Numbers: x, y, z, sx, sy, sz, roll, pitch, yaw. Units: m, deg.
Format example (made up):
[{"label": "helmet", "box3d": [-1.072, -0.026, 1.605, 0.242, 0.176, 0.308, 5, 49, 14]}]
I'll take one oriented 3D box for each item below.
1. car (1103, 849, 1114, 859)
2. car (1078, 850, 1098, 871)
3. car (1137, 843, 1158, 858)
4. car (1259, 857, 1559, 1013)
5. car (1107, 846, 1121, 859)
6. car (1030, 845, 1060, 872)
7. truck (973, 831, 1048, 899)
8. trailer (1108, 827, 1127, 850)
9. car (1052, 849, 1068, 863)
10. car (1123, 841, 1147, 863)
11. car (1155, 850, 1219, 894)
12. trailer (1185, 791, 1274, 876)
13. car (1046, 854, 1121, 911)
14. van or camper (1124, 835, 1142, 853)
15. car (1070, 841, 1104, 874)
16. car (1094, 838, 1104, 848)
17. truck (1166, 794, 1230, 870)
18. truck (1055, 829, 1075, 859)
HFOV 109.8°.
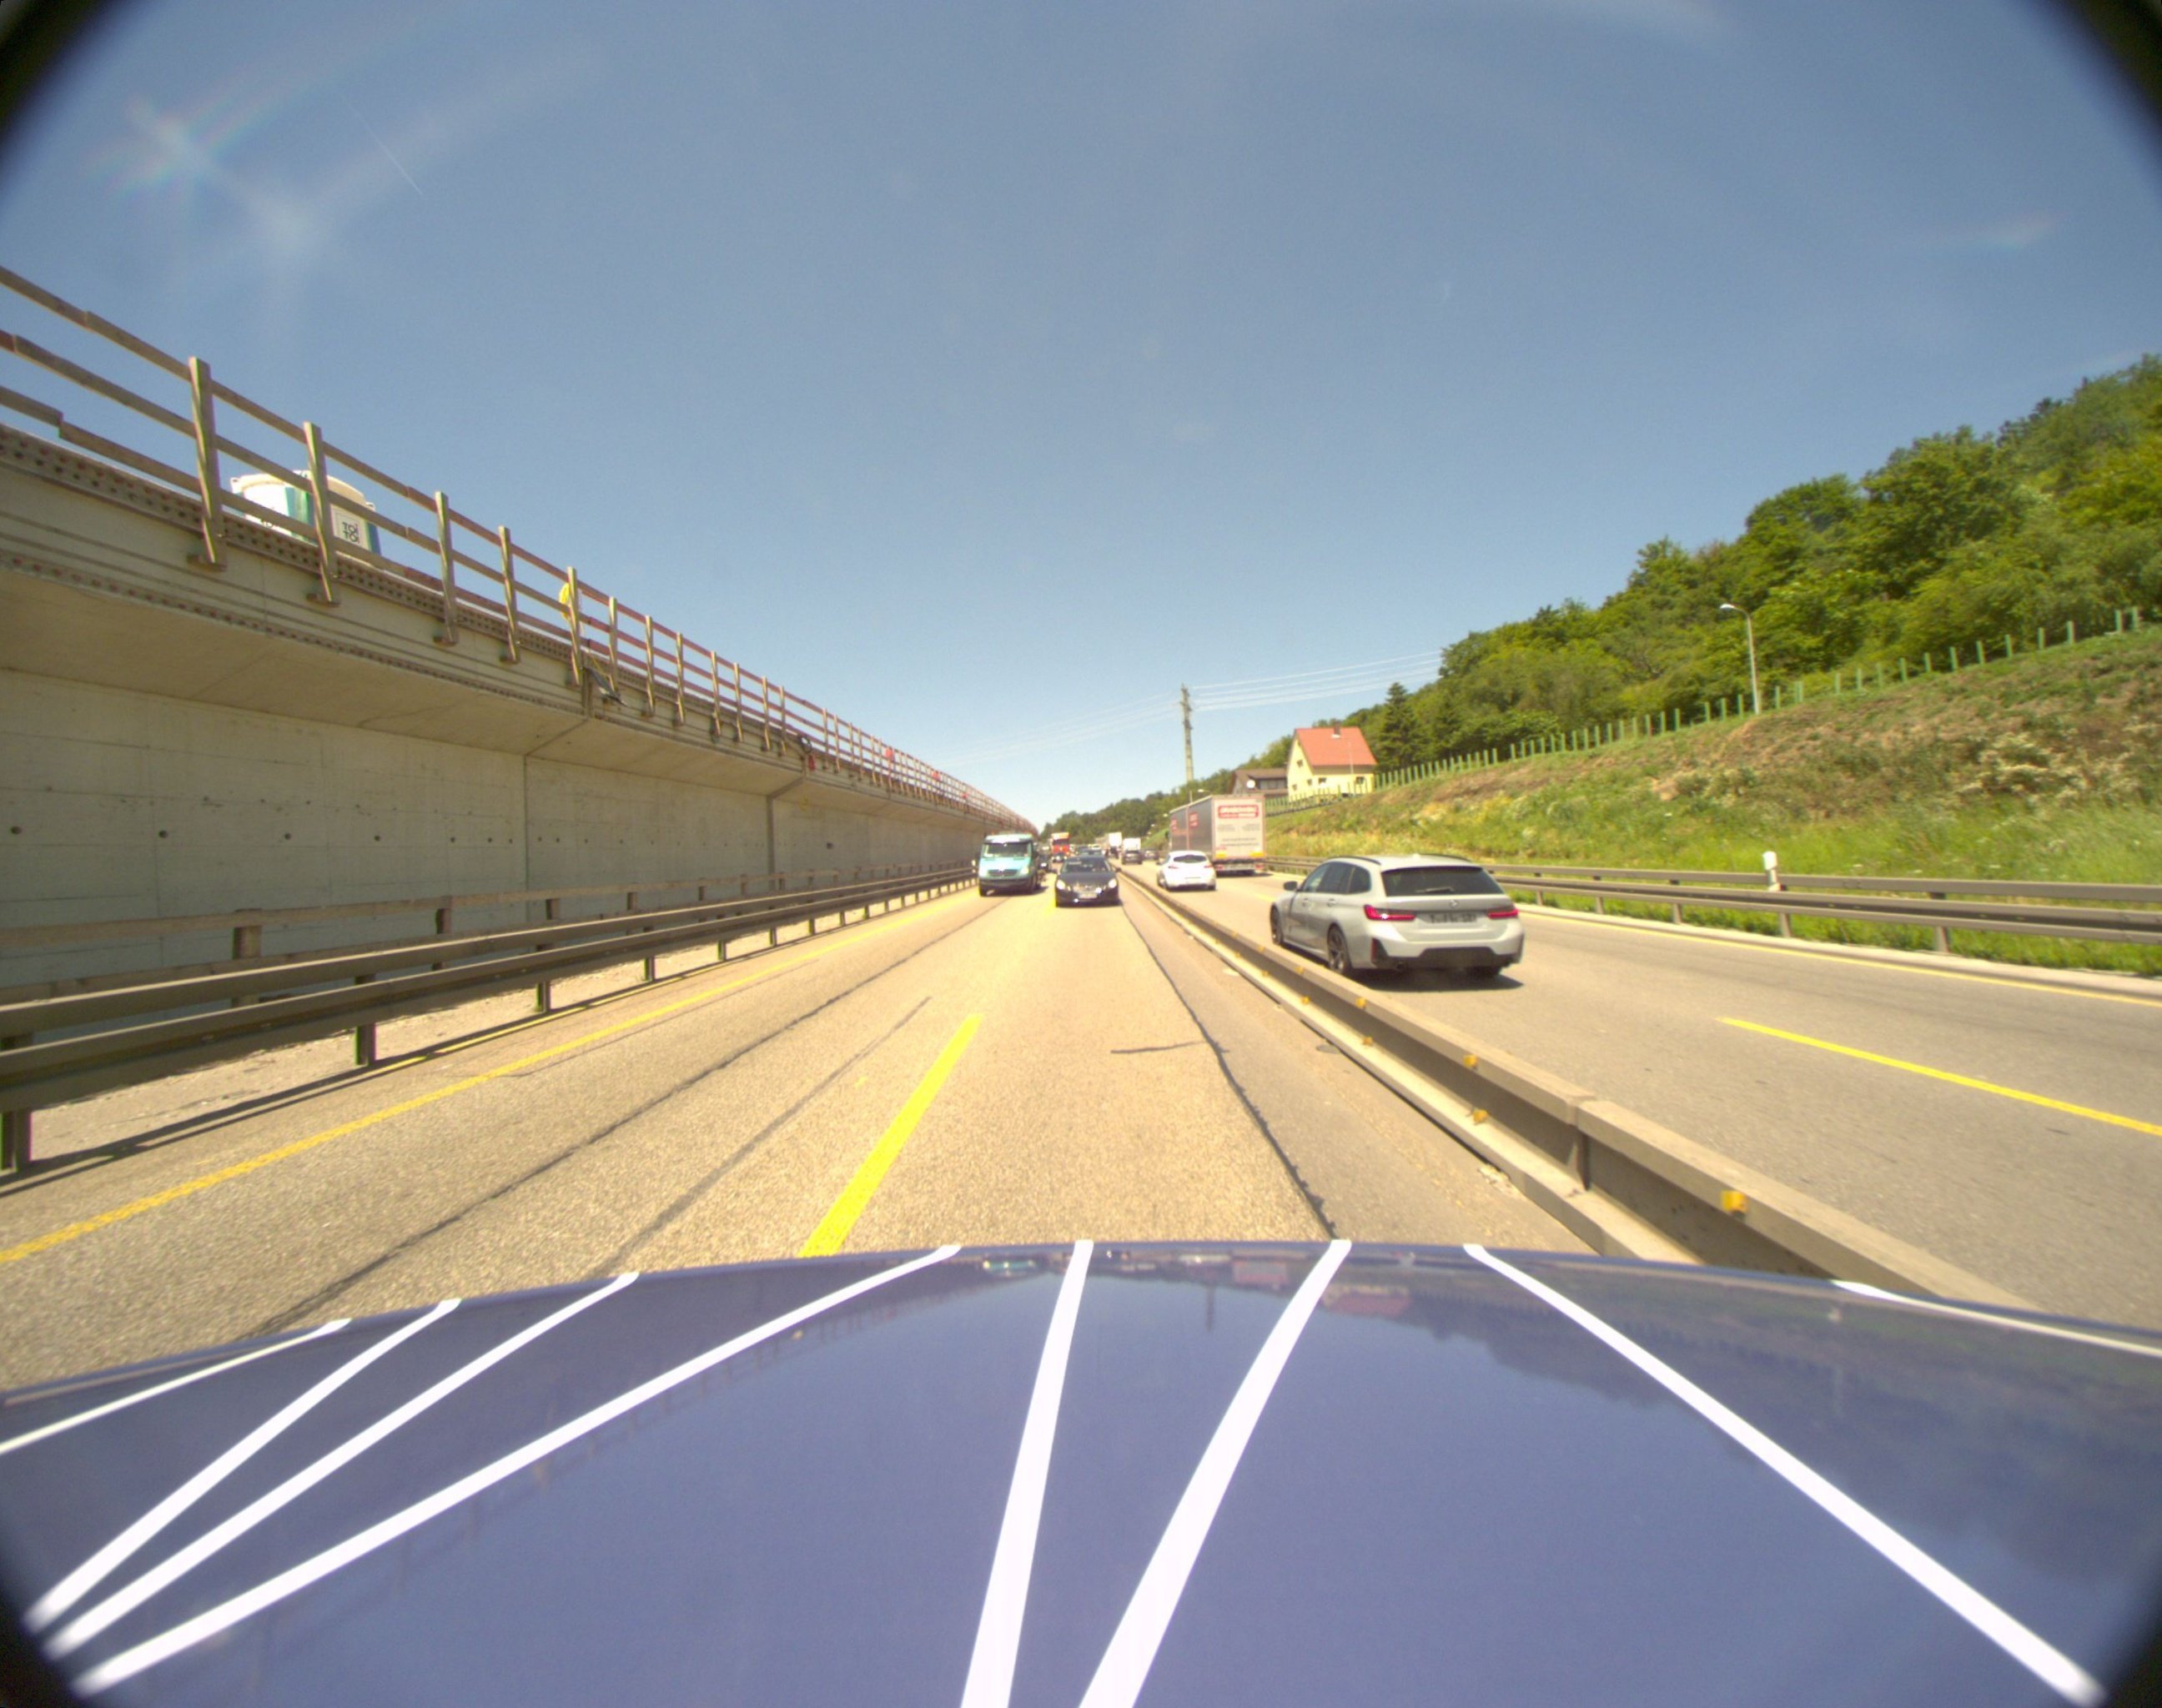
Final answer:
[{"label": "car", "box3d": [4.415, 0.008, 123.349, 1.671, 1.442, 3.905, -2, 1, 1]}, {"label": "car", "box3d": [0.799, 0.689, 84.227, 1.998, 2.003, 3.998, -4, 2, 0]}, {"label": "car", "box3d": [7.548, -0.439, 86.320, 1.998, 1.499, 5.299, -2, 1, 1]}, {"label": "car", "box3d": [3.725, 0.795, 9.683, 1.834, 1.425, 4.629, -1, 0, 0]}, {"label": "car", "box3d": [4.482, -0.256, 103.697, 1.875, 1.674, 4.000, -1, 1, 1]}, {"label": "car", "box3d": [-2.563, 0.276, 54.540, 1.885, 1.805, 4.249, -2, 1, 0]}, {"label": "truck", "box3d": [-2.672, 0.313, 30.903, 2.139, 2.344, 7.432, -2, 1, 1]}, {"label": "trailer", "box3d": [7.461, -3.216, 157.887, 3.111, 4.416, 14.625, -2, 1, 0]}, {"label": "car", "box3d": [-2.574, 0.228, 94.400, 1.883, 1.532, 4.280, -2, 1, 0]}, {"label": "car", "box3d": [5.001, -0.195, 70.980, 1.854, 1.879, 4.501, -2, 0, 1]}, {"label": "car", "box3d": [3.895, 0.615, 28.435, 1.807, 1.455, 4.000, -2, 0, 0]}, {"label": "trailer", "box3d": [7.737, -1.045, 40.841, 2.936, 3.966, 8.705, -2, 1, 0]}, {"label": "car", "box3d": [0.113, 0.785, 23.058, 1.998, 1.441, 4.601, -2, 1, 1]}, {"label": "van or camper", "box3d": [7.983, -1.560, 116.901, 2.356, 2.619, 6.901, -2, 1, 1]}, {"label": "car", "box3d": [0.429, 0.179, 46.516, 1.884, 1.805, 4.250, -2, 1, 2]}, {"label": "car", "box3d": [3.709, -2.216, 157.099, 1.998, 2.002, 4.165, -2, 1, 0]}, {"label": "truck", "box3d": [7.556, -1.365, 50.365, 2.627, 4.371, 10.383, -2, 1, 1]}, {"label": "truck", "box3d": [-2.438, -1.586, 117.127, 2.750, 4.222, 9.093, -2, 1, 0]}]
